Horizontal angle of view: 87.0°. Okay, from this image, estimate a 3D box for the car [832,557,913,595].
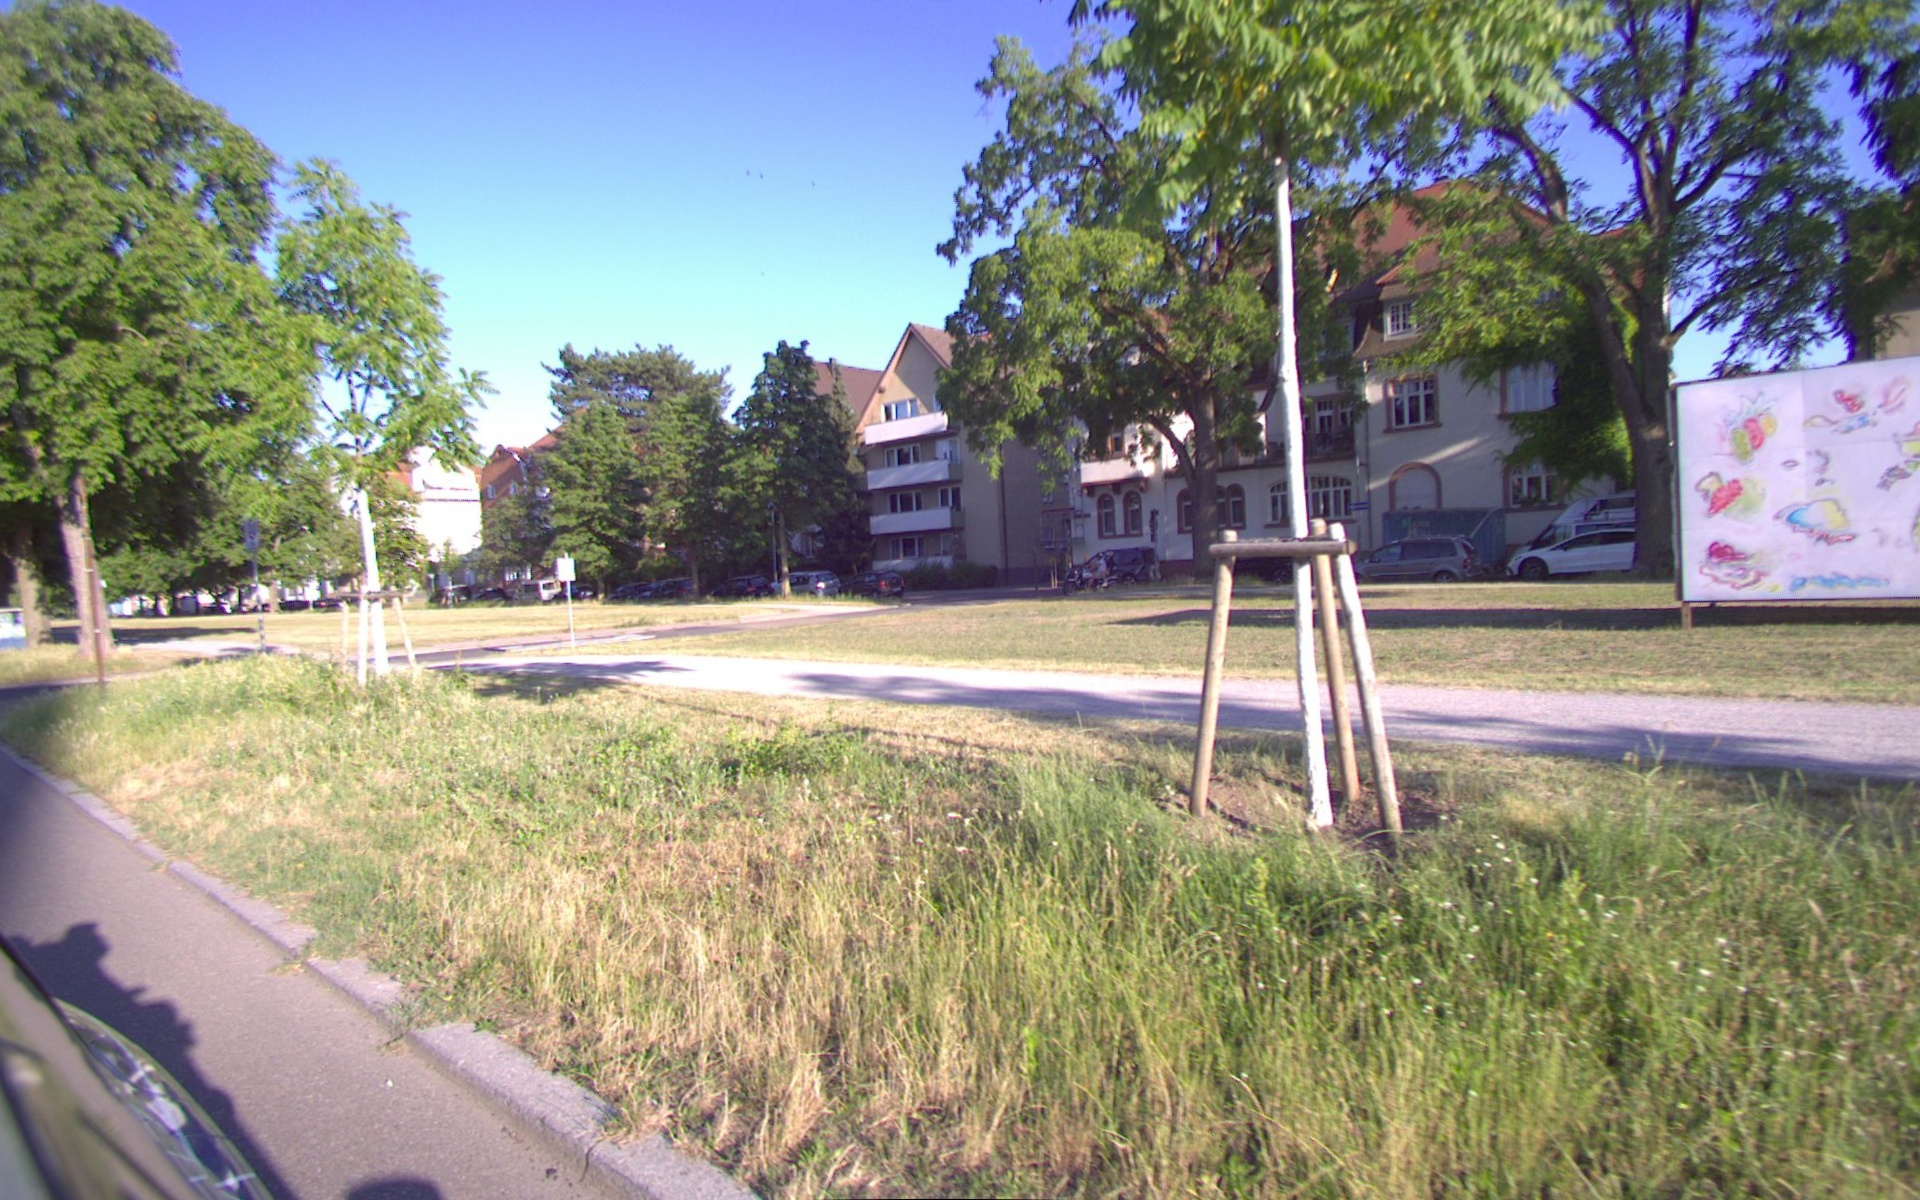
[{"bbox_3d":[-4.135,-1.118,47.707,1.868,1.534,3.683,-4,1,-43],"label":"car"}]

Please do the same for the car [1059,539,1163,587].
[{"bbox_3d":[6.753,-1.658,45.437,4.281,1.838,1.605,-3,1,37],"label":"car"}]

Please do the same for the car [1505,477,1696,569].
[{"bbox_3d":[20.881,-2.413,33.135,5.042,2.659,1.925,0,0,42],"label":"car"}]

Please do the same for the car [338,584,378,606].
[{"bbox_3d":[-55.036,-0.451,92.524,3.998,1.715,1.973,-2,2,42],"label":"car"}]

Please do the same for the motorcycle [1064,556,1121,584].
[{"bbox_3d":[5.058,-1.142,38.605,2.086,0.964,0.565,-3,2,8],"label":"motorcycle"}]

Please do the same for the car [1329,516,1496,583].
[{"bbox_3d":[14.049,-1.552,31.525,4.341,1.741,1.974,-2,2,40],"label":"car"}]

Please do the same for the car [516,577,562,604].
[{"bbox_3d":[-33.991,-0.769,81.689,4.001,2.029,1.971,0,-2,44],"label":"car"}]

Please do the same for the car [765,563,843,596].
[{"bbox_3d":[-7.780,-1.010,50.362,3.637,1.418,1.672,-3,2,37],"label":"car"}]

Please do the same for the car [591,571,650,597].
[{"bbox_3d":[-20.566,-0.991,61.314,3.637,1.340,1.542,-3,2,37],"label":"car"}]

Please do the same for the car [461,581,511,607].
[{"bbox_3d":[-34.901,-0.440,74.507,3.999,1.858,1.972,0,0,42],"label":"car"}]

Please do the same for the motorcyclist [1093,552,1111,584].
[{"bbox_3d":[5.408,-1.231,38.485,0.569,1.158,0.748,-3,2,10],"label":"motorcyclist"}]

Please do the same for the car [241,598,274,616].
[{"bbox_3d":[-78.434,0.770,113.008,3.997,2.029,2.099,0,0,40],"label":"car"}]

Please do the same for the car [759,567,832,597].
[{"bbox_3d":[-9.774,-1.039,60.062,3.993,1.510,1.976,-3,2,37],"label":"car"}]

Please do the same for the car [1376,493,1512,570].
[{"bbox_3d":[17.291,-2.396,36.206,3.999,2.560,1.973,1,4,41],"label":"car"}]

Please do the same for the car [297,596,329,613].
[{"bbox_3d":[-74.010,0.556,115.772,3.995,1.896,1.974,0,0,39],"label":"car"}]

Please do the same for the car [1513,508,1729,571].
[{"bbox_3d":[19.712,-1.791,30.327,5.171,1.536,1.973,-2,3,42],"label":"car"}]

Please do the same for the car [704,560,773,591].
[{"bbox_3d":[-11.843,-1.292,53.982,3.637,1.379,1.542,-3,2,37],"label":"car"}]

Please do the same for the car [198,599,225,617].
[{"bbox_3d":[-93.519,0.994,126.482,4.001,2.028,1.972,-2,2,44],"label":"car"}]

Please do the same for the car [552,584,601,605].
[{"bbox_3d":[-29.432,-0.399,77.663,4.001,1.617,1.971,0,0,44],"label":"car"}]

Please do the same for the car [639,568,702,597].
[{"bbox_3d":[-16.605,-1.004,58.062,3.637,1.426,1.542,-3,2,37],"label":"car"}]

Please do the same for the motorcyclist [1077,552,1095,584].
[{"bbox_3d":[4.809,-1.212,38.513,0.569,1.158,0.748,-3,2,10],"label":"motorcyclist"}]

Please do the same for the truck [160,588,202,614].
[{"bbox_3d":[-105.381,0.186,136.792,7.704,3.169,2.751,-1,3,40],"label":"truck"}]

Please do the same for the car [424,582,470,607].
[{"bbox_3d":[-40.023,-0.423,78.938,3.999,1.858,1.972,0,0,42],"label":"car"}]

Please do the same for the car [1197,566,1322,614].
[{"bbox_3d":[12.148,-0.396,41.203,4.441,1.673,1.909,-2,2,42],"label":"car"}]

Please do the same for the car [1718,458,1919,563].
[{"bbox_3d":[21.503,-2.171,24.812,4.566,2.190,1.974,-2,2,39],"label":"car"}]
